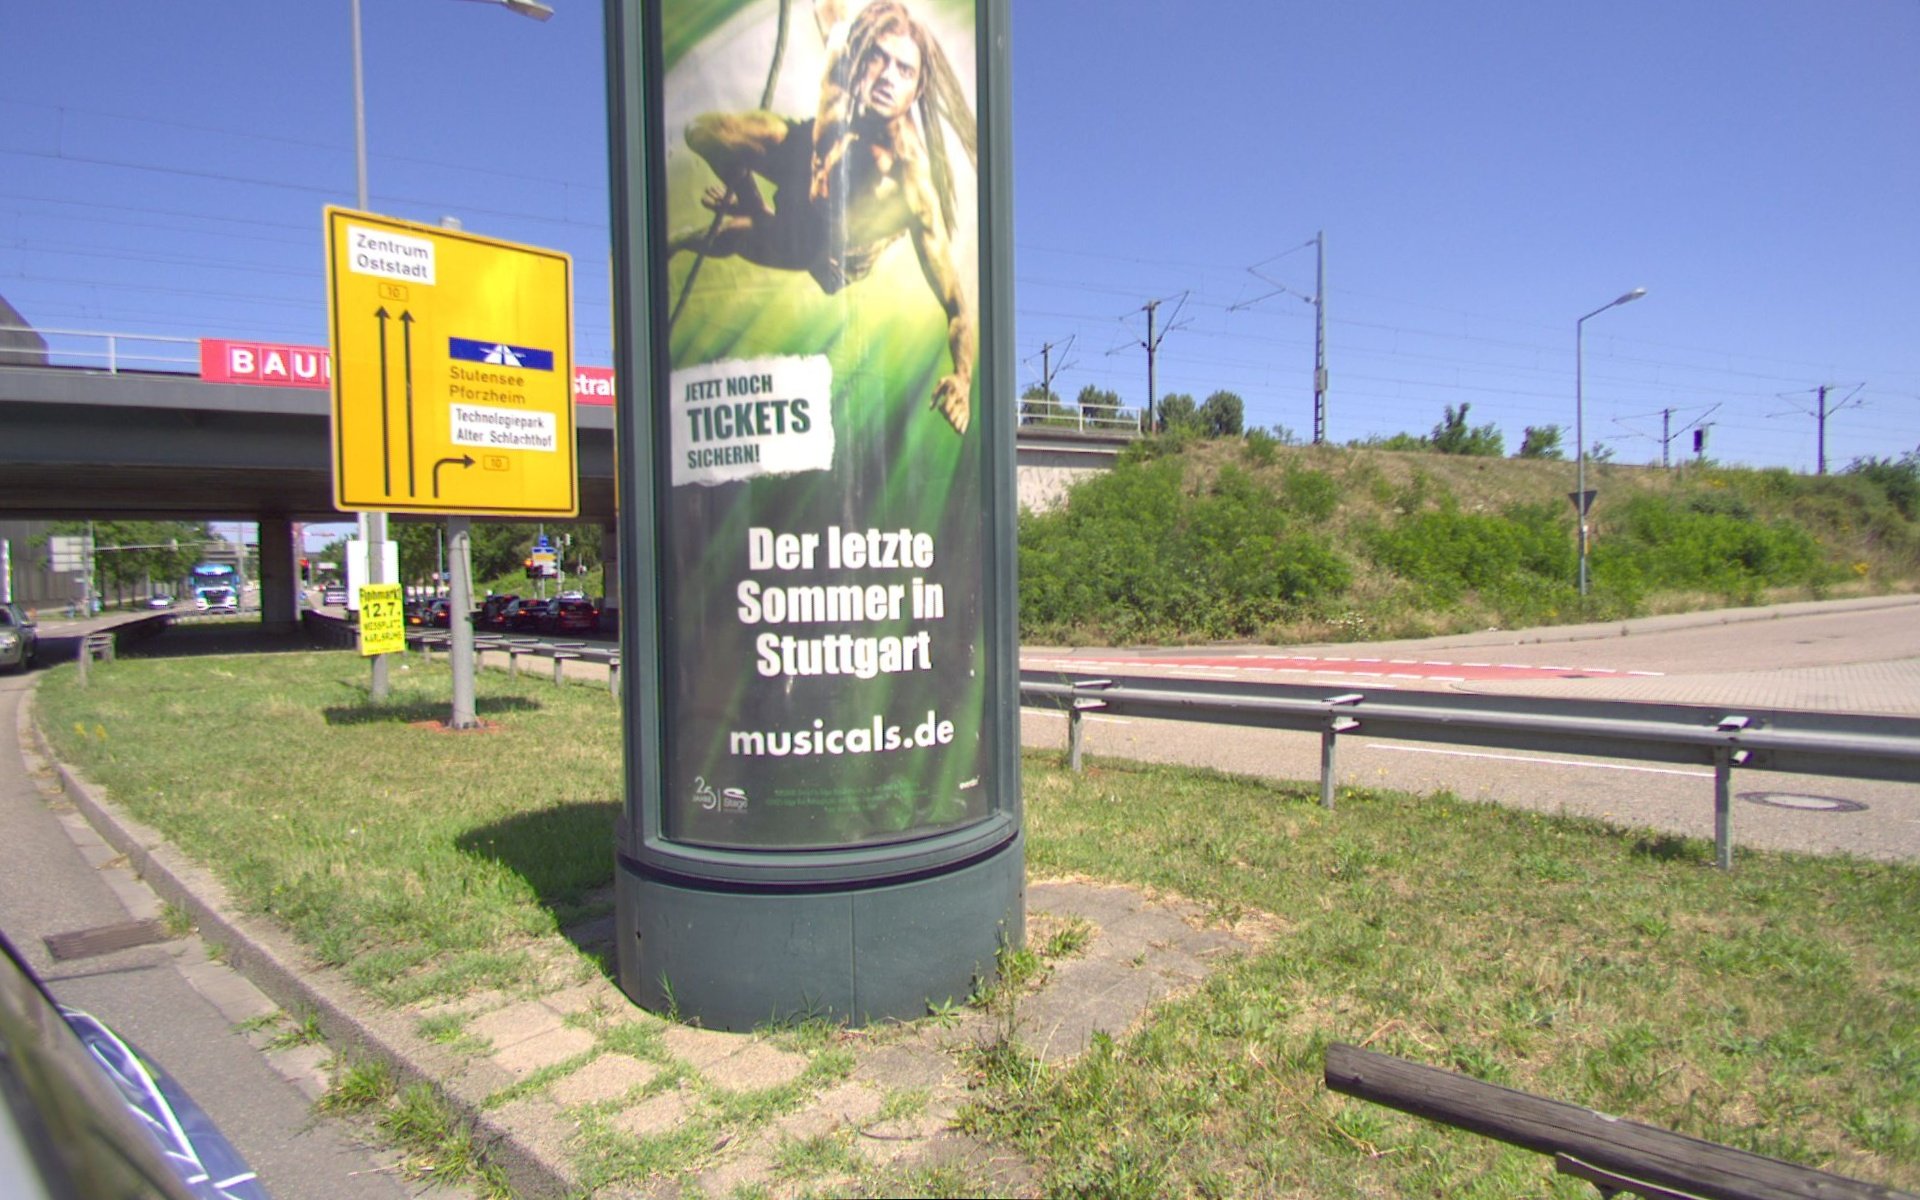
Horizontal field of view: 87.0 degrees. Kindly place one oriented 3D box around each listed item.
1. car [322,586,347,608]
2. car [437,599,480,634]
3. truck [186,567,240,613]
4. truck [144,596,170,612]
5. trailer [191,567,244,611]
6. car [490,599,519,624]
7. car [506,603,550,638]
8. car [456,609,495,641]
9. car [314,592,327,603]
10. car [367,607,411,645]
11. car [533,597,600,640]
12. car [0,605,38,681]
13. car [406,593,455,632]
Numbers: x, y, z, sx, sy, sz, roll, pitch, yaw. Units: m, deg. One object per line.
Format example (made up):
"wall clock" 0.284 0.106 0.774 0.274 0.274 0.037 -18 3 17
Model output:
"car" -59.880 -0.271 96.888 1.966 2.029 4.012 -1 0 -31
"car" -22.757 0.731 45.898 1.593 1.487 3.444 -1 0 -28
"truck" -57.883 -0.732 78.556 2.972 3.443 6.584 -1 0 -33
"truck" -78.152 0.361 98.529 1.703 1.513 4.011 -1 0 -34
"trailer" -61.462 -0.818 83.978 2.916 3.398 13.931 -1 0 -34
"car" -23.816 0.592 52.844 1.166 1.257 2.701 -1 0 -28
"car" -20.127 0.925 47.076 1.548 1.514 3.418 -1 0 -28
"car" -19.551 0.989 40.810 1.250 1.194 2.786 -1 0 -28
"car" -122.192 -0.513 193.295 1.967 2.029 4.011 -1 0 -34
"car" -21.830 0.967 38.705 1.389 1.329 3.271 -1 0 -29
"car" -16.547 0.759 42.444 1.748 1.680 4.025 -1 0 -35
"car" -23.157 0.987 24.009 1.818 1.708 3.705 -1 0 -42
"car" -26.987 0.612 51.510 1.876 1.874 4.011 -1 0 -32
